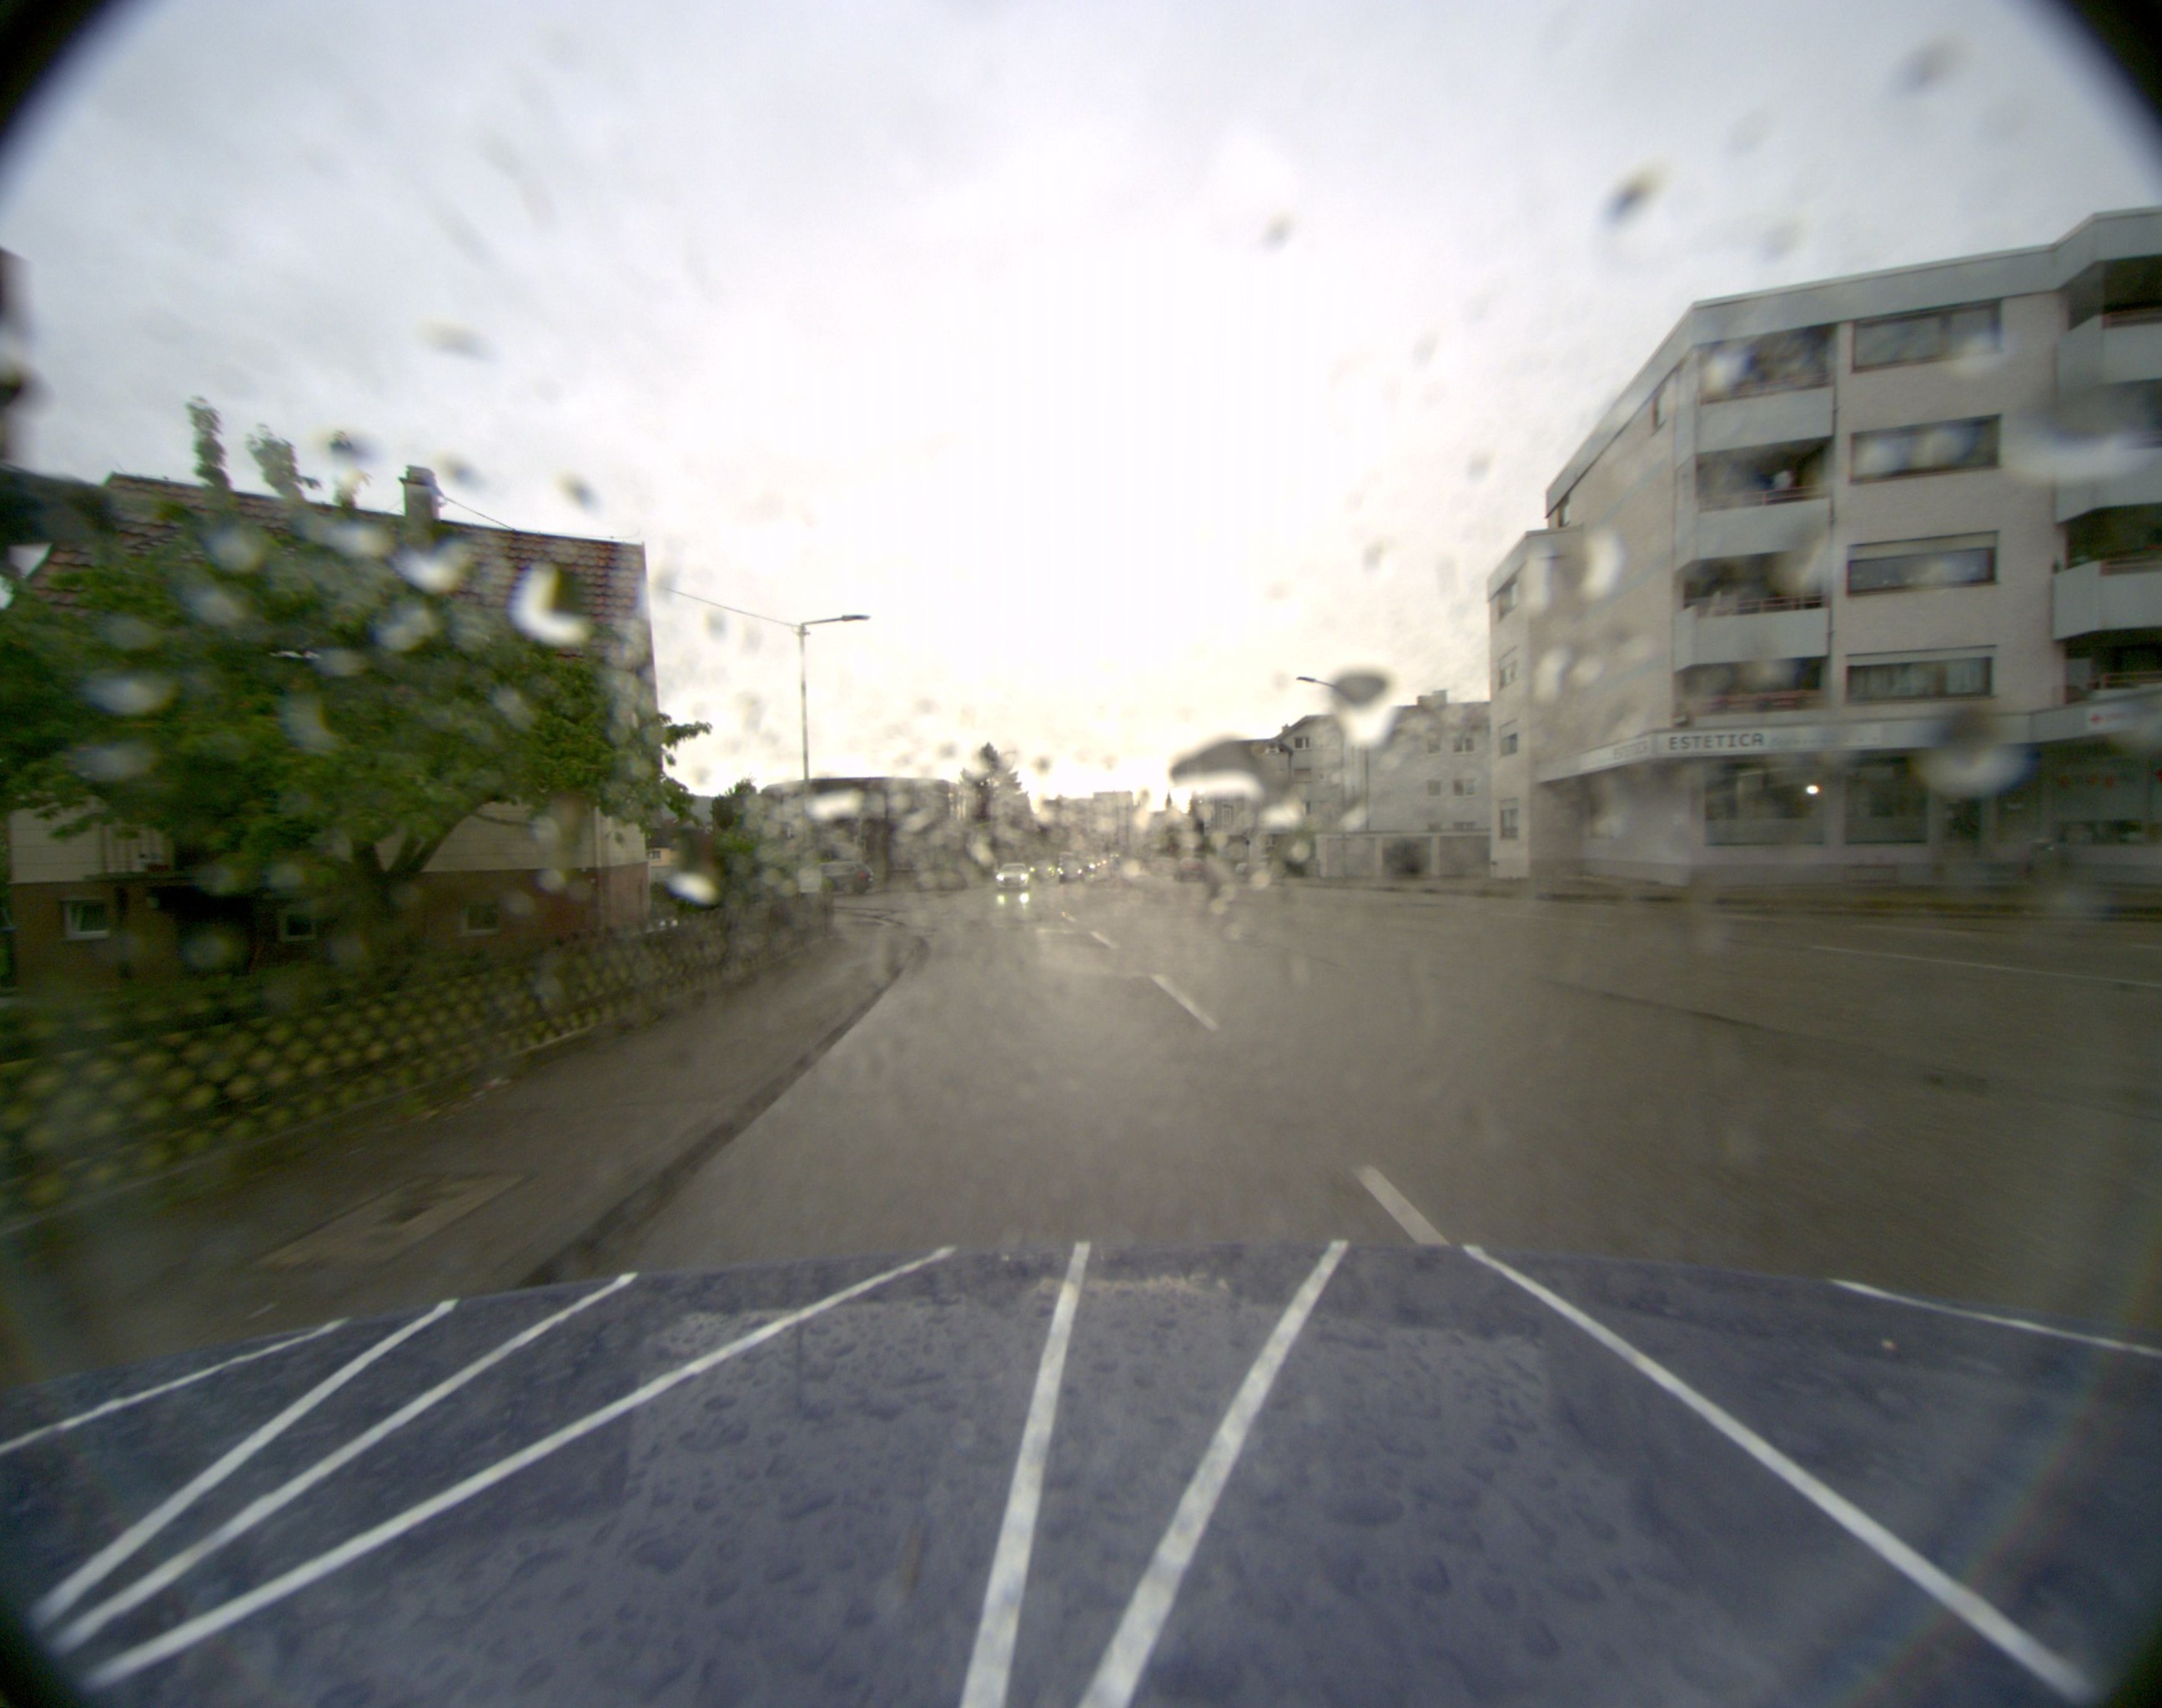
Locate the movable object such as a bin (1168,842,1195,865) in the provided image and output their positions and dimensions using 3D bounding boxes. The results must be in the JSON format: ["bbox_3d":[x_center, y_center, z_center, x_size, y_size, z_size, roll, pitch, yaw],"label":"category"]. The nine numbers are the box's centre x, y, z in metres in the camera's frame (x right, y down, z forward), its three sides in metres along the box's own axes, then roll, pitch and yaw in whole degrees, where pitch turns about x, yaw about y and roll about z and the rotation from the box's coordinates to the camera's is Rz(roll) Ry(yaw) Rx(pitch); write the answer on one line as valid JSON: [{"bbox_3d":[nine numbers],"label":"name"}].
[{"bbox_3d":[12.911,-0.111,97.716,2.922,2.825,2.199,-2,0,18],"label":"movable object such as a bin"}]

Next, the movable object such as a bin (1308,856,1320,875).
[{"bbox_3d":[12.932,0.648,42.229,0.500,0.955,0.535,-6,1,13],"label":"movable object such as a bin"}]

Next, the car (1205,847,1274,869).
[{"bbox_3d":[13.044,0.328,62.561,5.471,1.674,2.150,-2,0,12],"label":"car"}]

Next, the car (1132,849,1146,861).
[{"bbox_3d":[9.594,0.158,125.952,2.101,1.822,4.735,-2,0,6],"label":"car"}]

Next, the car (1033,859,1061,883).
[{"bbox_3d":[-2.755,1.381,62.352,1.998,1.849,4.000,0,1,3],"label":"car"}]

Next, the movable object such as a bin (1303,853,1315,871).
[{"bbox_3d":[13.183,0.453,43.969,0.500,1.013,0.688,-6,1,14],"label":"movable object such as a bin"}]

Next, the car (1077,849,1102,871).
[{"bbox_3d":[0.830,0.586,74.233,1.997,2.002,4.002,-2,0,7],"label":"car"}]

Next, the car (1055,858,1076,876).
[{"bbox_3d":[-1.706,1.408,84.078,1.998,1.849,4.000,0,1,3],"label":"car"}]

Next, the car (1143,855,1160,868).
[{"bbox_3d":[8.519,0.856,91.532,1.792,1.463,4.164,-2,0,3],"label":"car"}]

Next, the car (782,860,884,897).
[{"bbox_3d":[-13.084,1.270,40.223,4.643,1.739,2.001,-2,1,5],"label":"car"}]

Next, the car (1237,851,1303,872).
[{"bbox_3d":[14.184,0.557,57.316,4.620,1.488,1.930,-2,0,8],"label":"car"}]

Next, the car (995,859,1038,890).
[{"bbox_3d":[-3.416,1.059,41.179,1.829,1.431,4.345,-2,0,1],"label":"car"}]

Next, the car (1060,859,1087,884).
[{"bbox_3d":[-0.495,1.163,52.160,1.651,1.547,3.351,-2,0,2],"label":"car"}]

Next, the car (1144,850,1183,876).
[{"bbox_3d":[7.131,0.777,66.110,2.096,2.002,5.977,-5,0,-5],"label":"car"}]

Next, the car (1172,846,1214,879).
[{"bbox_3d":[7.219,0.535,49.451,1.998,2.002,4.652,-2,0,1],"label":"car"}]

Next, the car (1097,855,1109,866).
[{"bbox_3d":[3.885,1.064,133.810,1.998,1.849,4.000,0,1,2],"label":"car"}]

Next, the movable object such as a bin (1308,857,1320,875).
[{"bbox_3d":[12.780,0.662,41.703,0.500,0.955,0.535,-6,1,13],"label":"movable object such as a bin"}]

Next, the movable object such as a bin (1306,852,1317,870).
[{"bbox_3d":[12.461,0.352,41.106,0.499,0.955,0.602,-2,0,13],"label":"movable object such as a bin"}]
